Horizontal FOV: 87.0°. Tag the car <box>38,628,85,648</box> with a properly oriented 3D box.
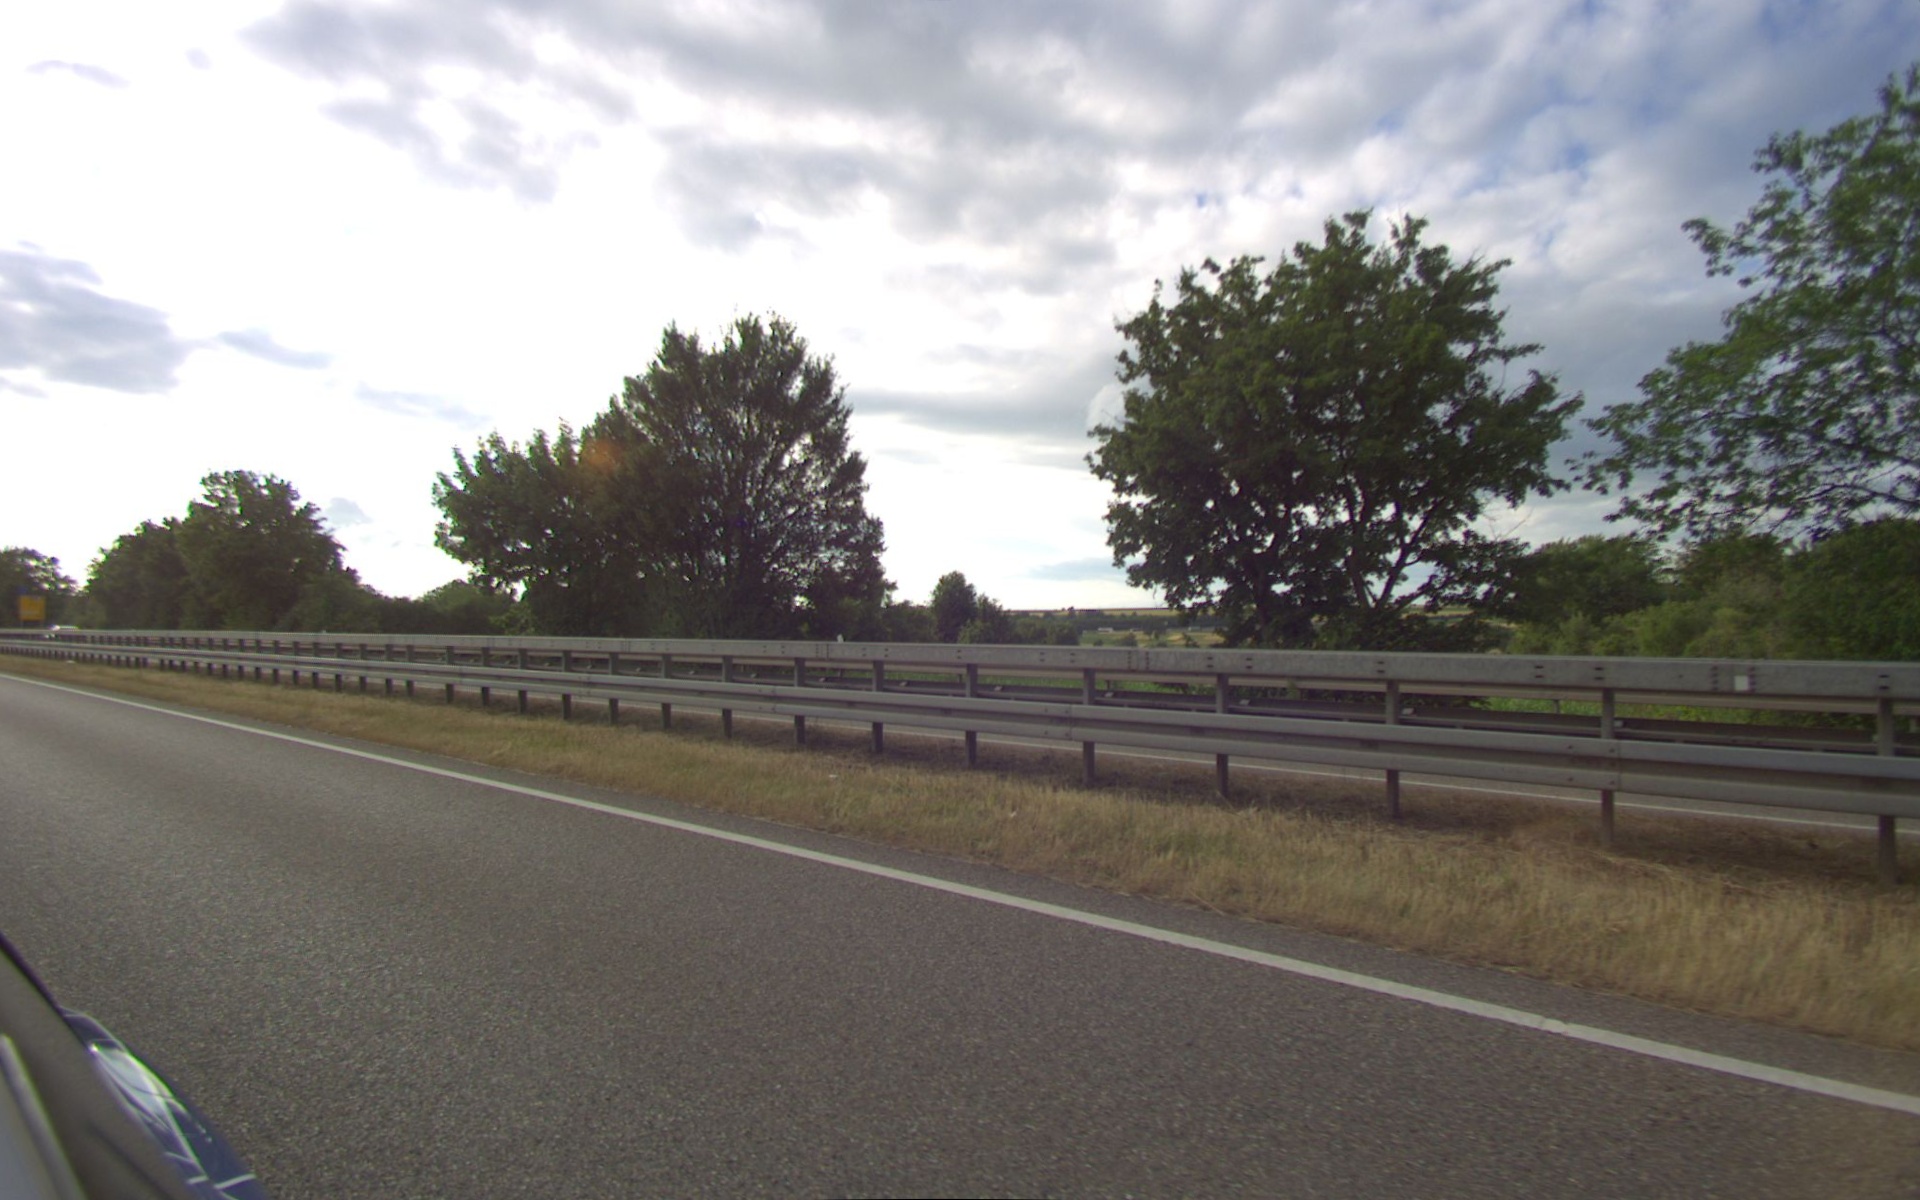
[{"bbox_3d":[-62.924,2.621,70.877,4.572,1.362,1.763,-1,-2,39],"label":"car"}]
